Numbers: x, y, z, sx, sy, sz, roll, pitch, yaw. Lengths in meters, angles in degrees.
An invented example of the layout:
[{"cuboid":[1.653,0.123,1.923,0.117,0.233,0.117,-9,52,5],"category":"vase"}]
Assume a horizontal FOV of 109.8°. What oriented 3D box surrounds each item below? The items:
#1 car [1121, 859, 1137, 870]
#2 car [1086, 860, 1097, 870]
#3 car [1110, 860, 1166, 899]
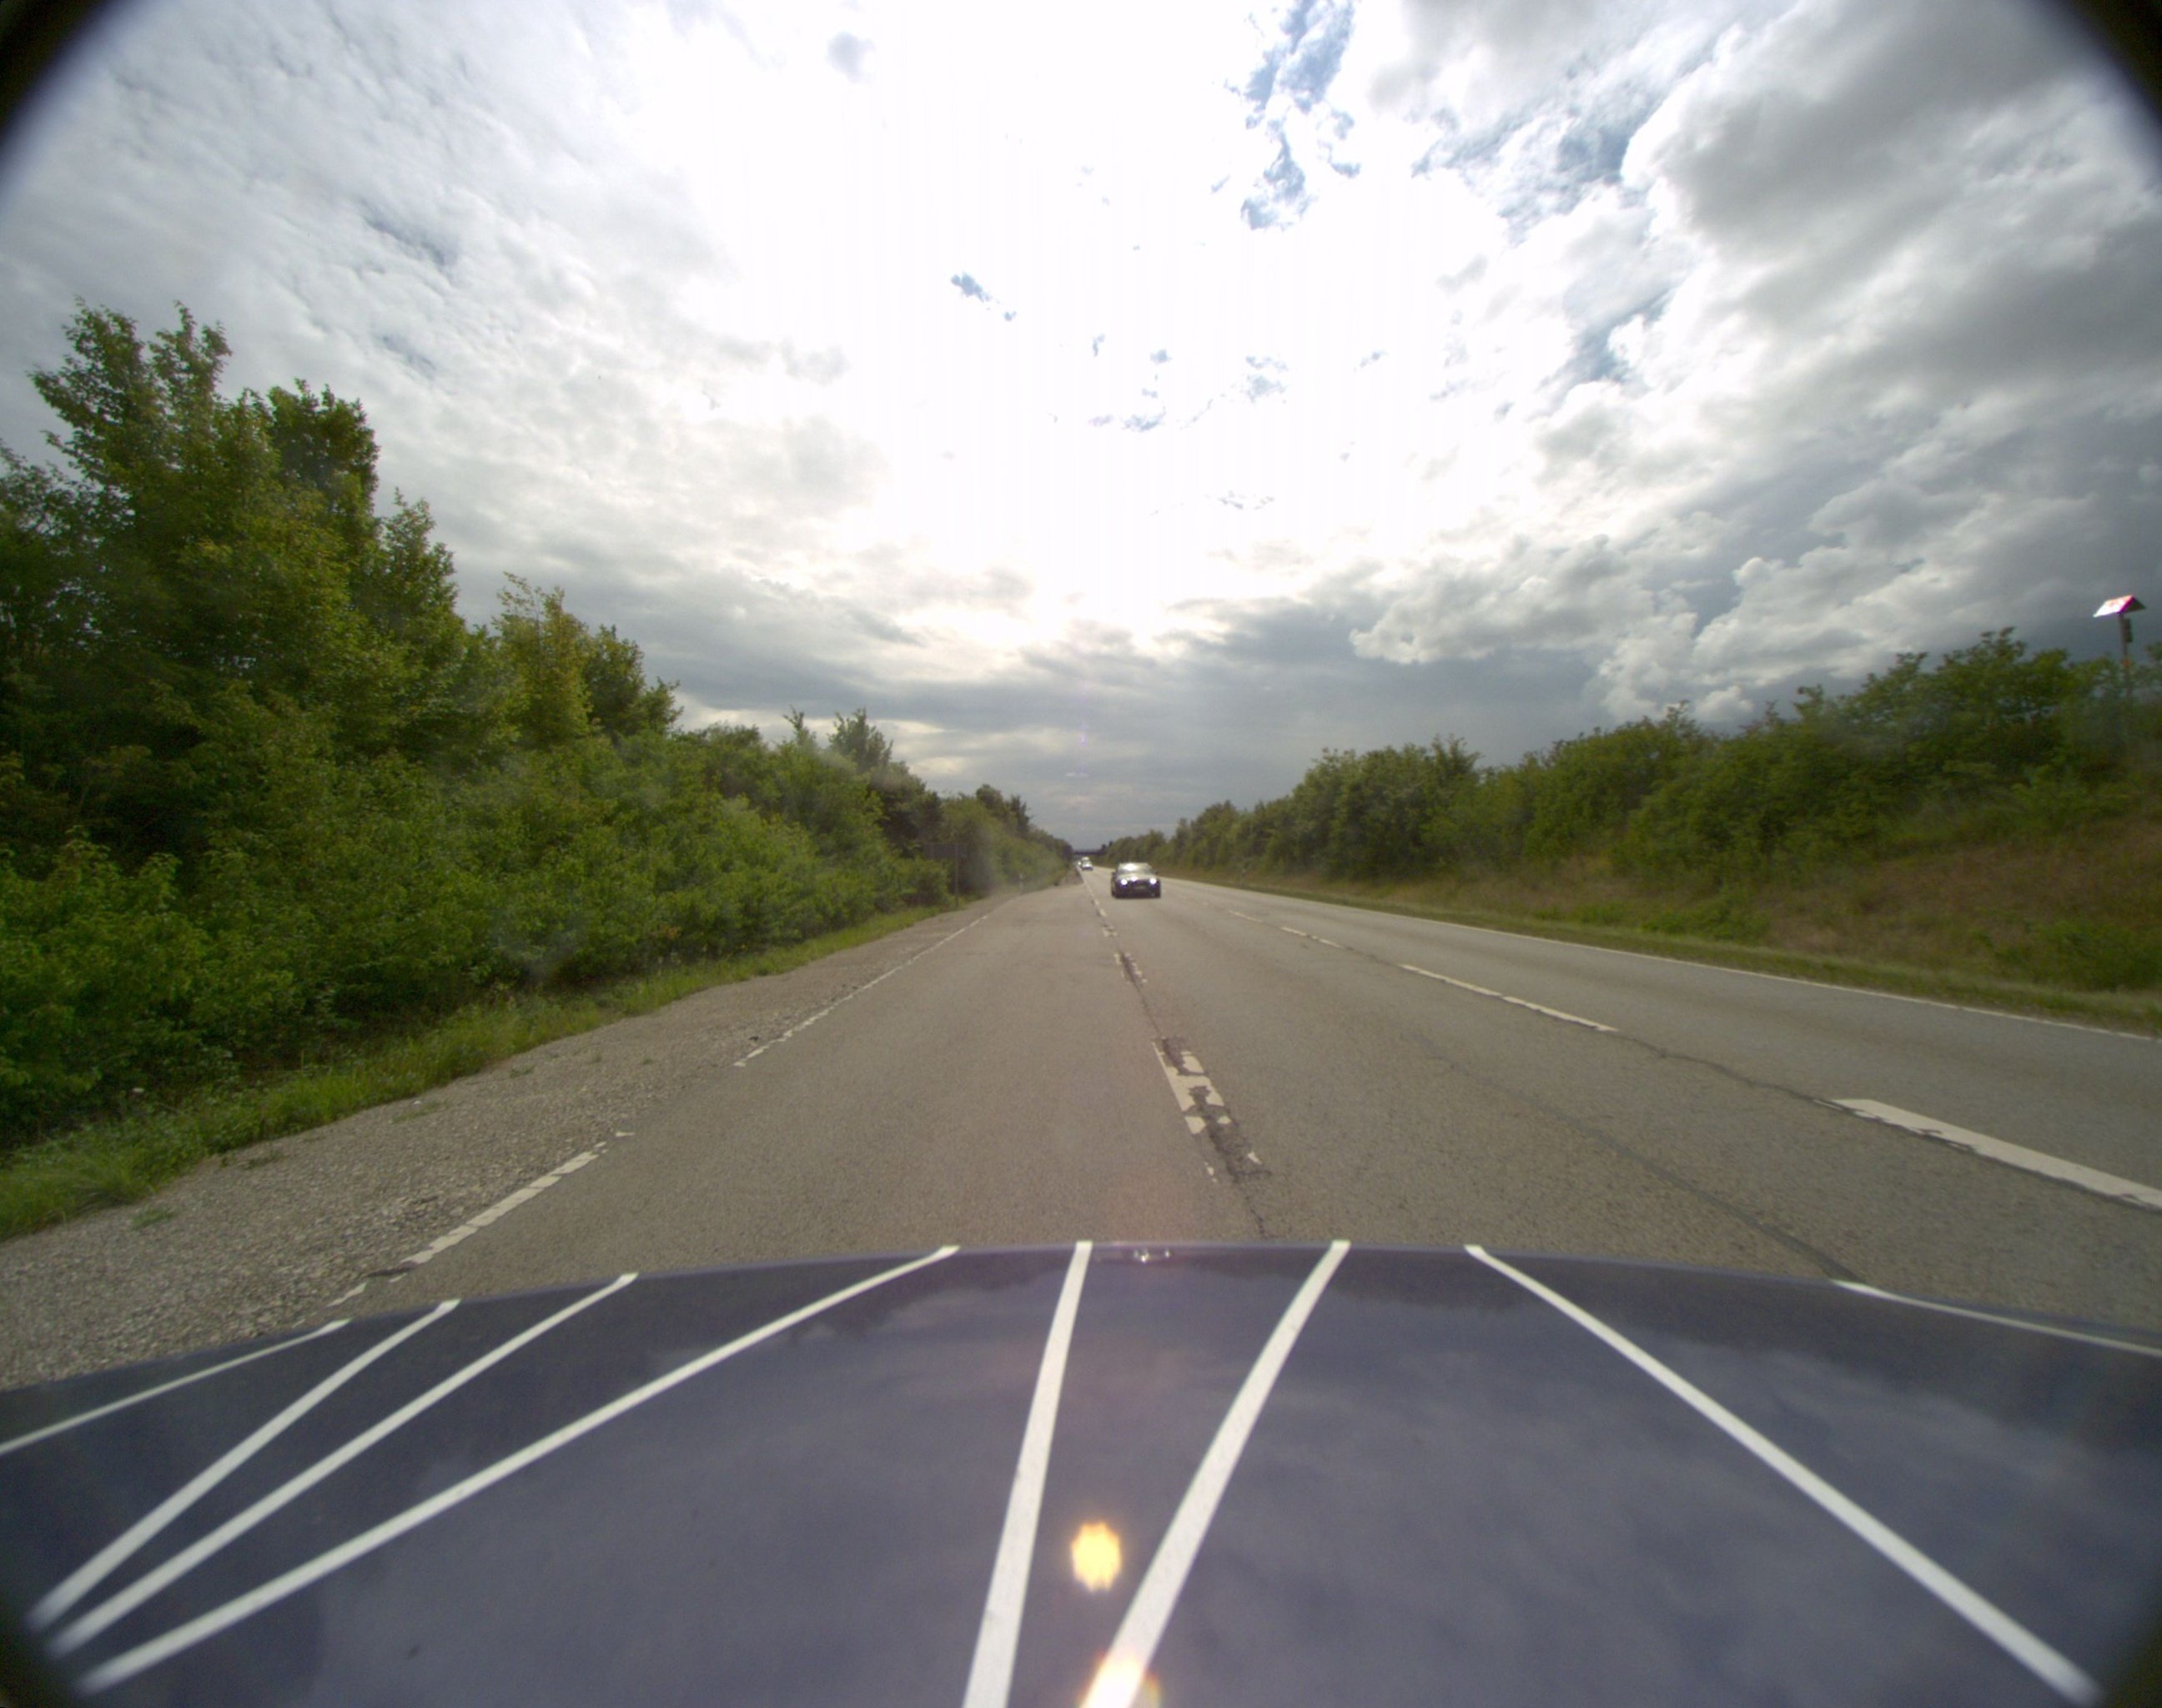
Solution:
[{"cuboid":[5.885,1.264,93.478,1.705,1.322,3.999,-1,0,-1],"category":"car"},{"cuboid":[1.894,2.011,138.690,1.870,1.597,4.000,-2,0,-1],"category":"car"},{"cuboid":[2.423,1.056,33.175,1.999,1.436,4.640,-2,0,-1],"category":"car"}]
